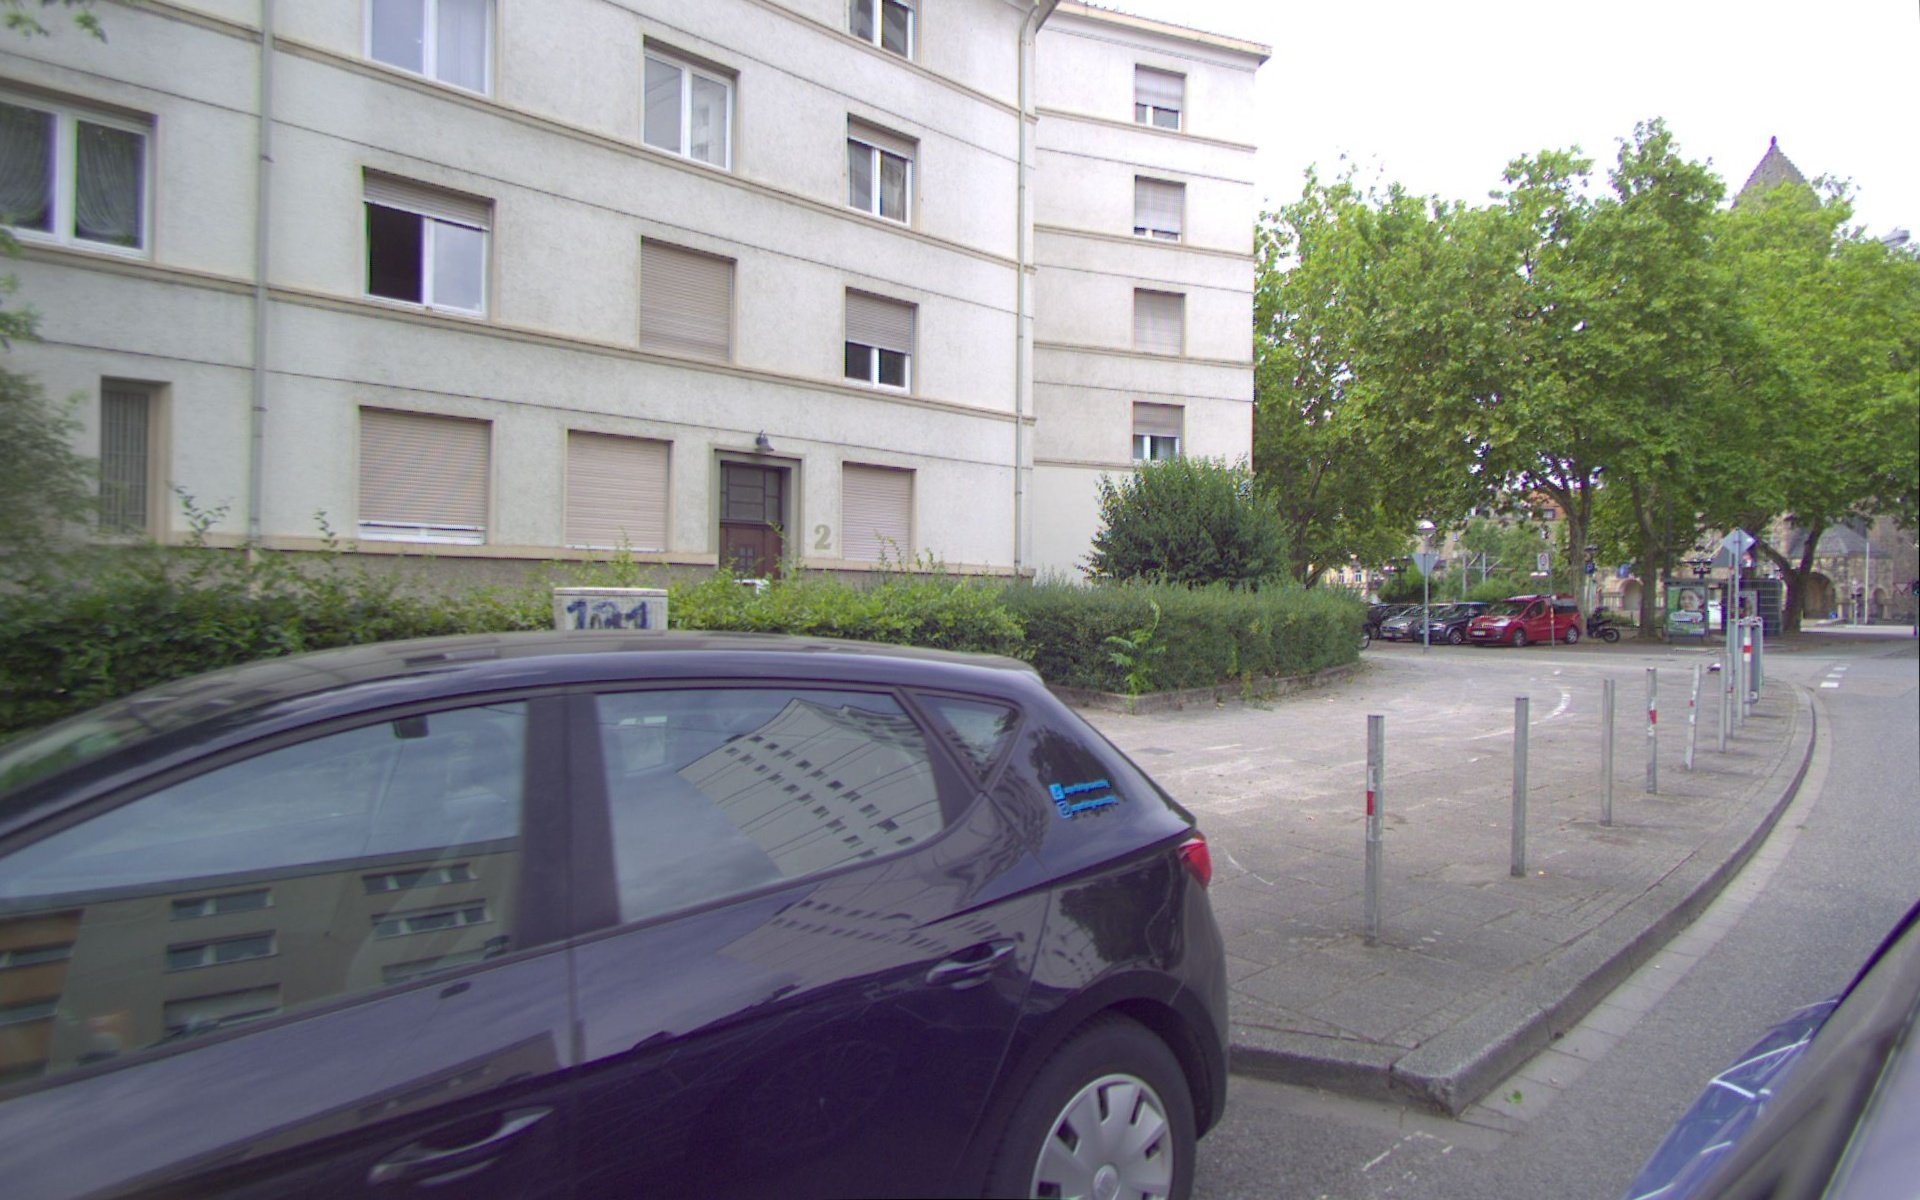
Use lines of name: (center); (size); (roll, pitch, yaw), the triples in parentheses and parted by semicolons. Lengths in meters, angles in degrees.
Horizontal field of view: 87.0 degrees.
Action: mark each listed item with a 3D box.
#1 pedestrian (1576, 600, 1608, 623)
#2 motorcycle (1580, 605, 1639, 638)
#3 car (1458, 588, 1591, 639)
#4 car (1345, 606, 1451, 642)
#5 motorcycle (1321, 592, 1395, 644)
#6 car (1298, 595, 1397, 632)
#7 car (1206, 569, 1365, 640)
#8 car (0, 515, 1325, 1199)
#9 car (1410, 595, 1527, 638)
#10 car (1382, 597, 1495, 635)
pedestrian: (35.515, 0.643, 56.875); (1.116, 1.228, 1.101); (0, 0, -18)
motorcycle: (24.928, 0.806, 38.856); (0.522, 1.238, 1.854); (2, -2, -45)
car: (20.060, 0.460, 35.971); (4.240, 1.727, 1.942); (1, 0, -23)
car: (18.738, 1.014, 43.286); (3.916, 1.482, 2.004); (1, 0, -22)
motorcycle: (11.895, 0.545, 30.201); (2.260, 1.480, 0.835); (2, -1, -31)
car: (17.550, 0.605, 45.854); (3.916, 1.619, 2.004); (1, 0, -22)
car: (10.760, 0.184, 33.480); (4.742, 2.177, 2.004); (2, -2, -20)
car: (-1.409, 0.671, 1.802); (4.160, 1.463, 1.922); (1, -2, -37)
car: (19.240, 0.614, 38.310); (3.916, 1.572, 1.836); (1, 0, -22)
car: (19.373, 0.628, 40.992); (4.096, 1.482, 1.755); (1, 0, -19)
